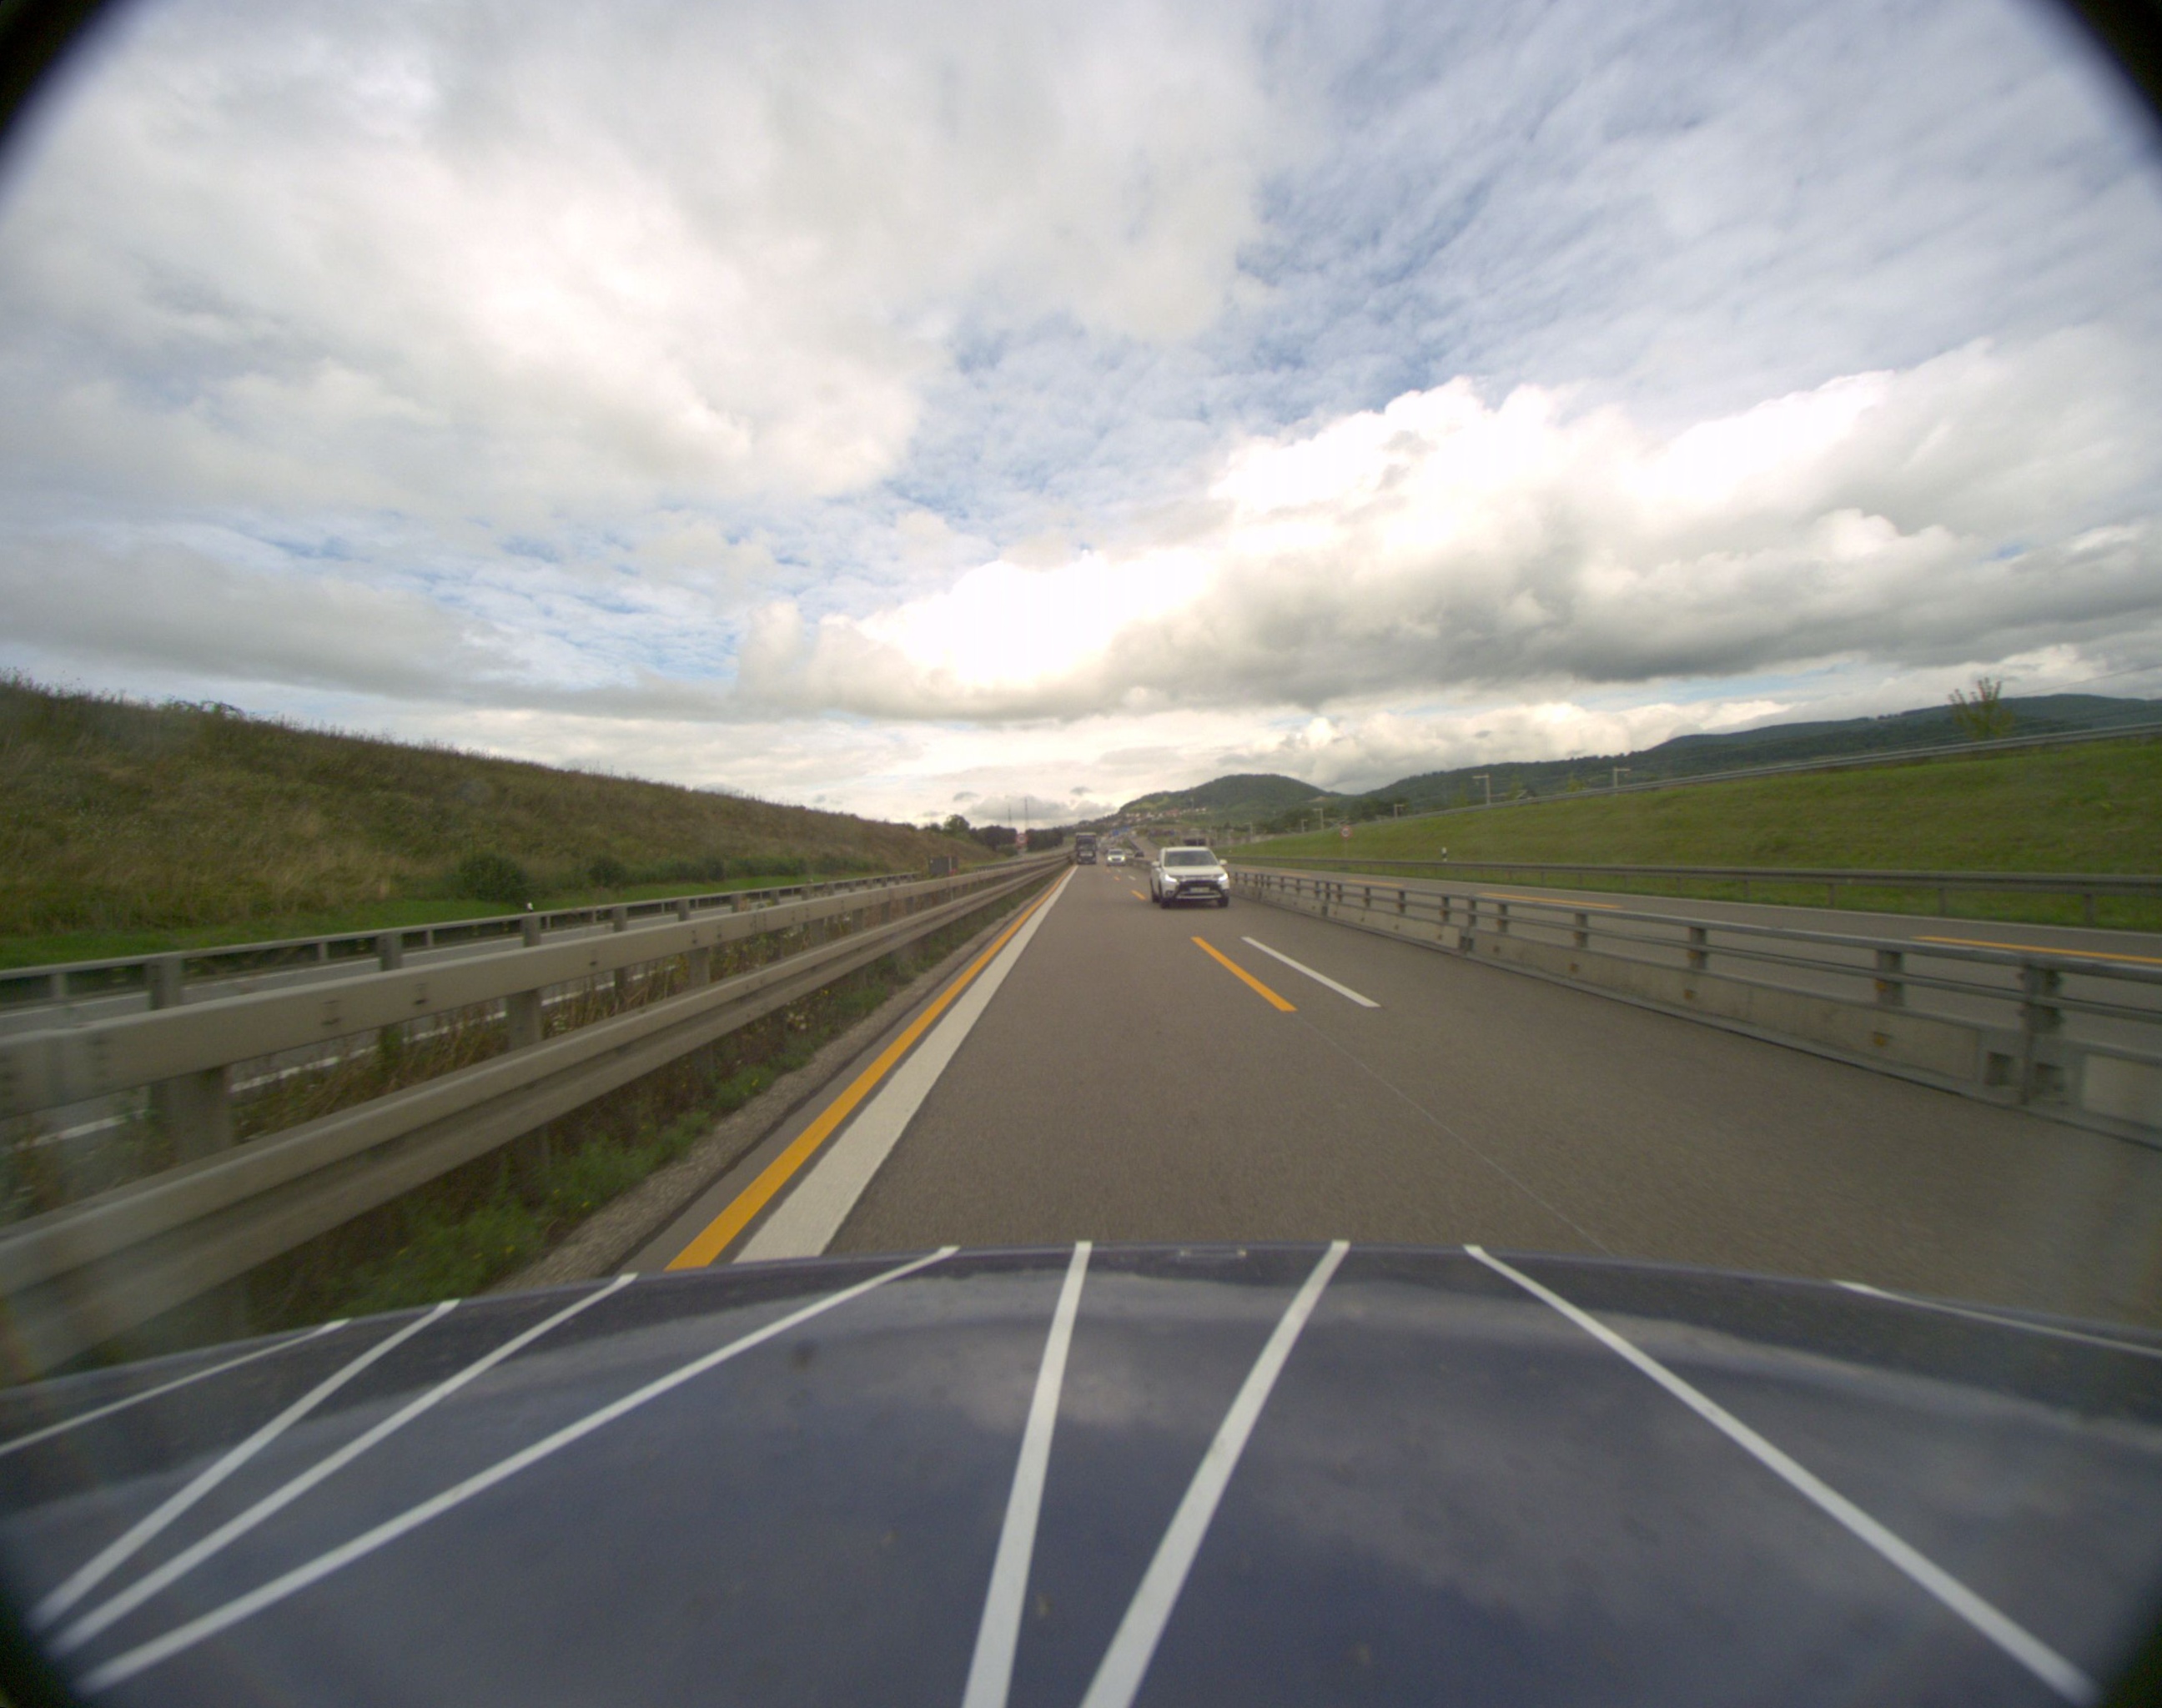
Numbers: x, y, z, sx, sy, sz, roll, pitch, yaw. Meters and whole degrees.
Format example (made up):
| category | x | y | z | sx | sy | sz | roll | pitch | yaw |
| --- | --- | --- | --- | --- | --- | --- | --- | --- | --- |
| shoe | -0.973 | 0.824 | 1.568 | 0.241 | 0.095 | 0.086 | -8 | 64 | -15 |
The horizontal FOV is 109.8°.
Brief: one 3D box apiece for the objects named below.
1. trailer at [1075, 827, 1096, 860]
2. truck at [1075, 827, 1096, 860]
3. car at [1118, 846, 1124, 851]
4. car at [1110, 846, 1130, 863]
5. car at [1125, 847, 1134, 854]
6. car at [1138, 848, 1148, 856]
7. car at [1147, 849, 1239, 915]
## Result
| category | x | y | z | sx | sy | sz | roll | pitch | yaw |
| --- | --- | --- | --- | --- | --- | --- | --- | --- | --- |
| trailer | 0.711 | -1.415 | 102.929 | 2.521 | 4.081 | 11.112 | -2 | 1 | 1 |
| truck | 0.606 | -1.346 | 97.995 | 2.521 | 4.081 | 5.684 | -2 | 1 | 1 |
| car | 13.473 | -1.976 | 256.068 | 2.094 | 1.571 | 4.281 | -2 | 1 | 1 |
| car | 4.319 | -0.002 | 84.057 | 1.991 | 1.788 | 4.585 | -2 | 1 | 1 |
| car | 12.058 | -0.914 | 188.715 | 1.894 | 1.517 | 4.182 | -2 | 1 | 1 |
| car | 12.642 | -0.516 | 154.317 | 1.792 | 1.507 | 4.135 | -1 | 1 | 1 |
| car | 3.032 | 0.699 | 21.488 | 1.998 | 1.618 | 4.607 | -1 | 0 | 2 |
